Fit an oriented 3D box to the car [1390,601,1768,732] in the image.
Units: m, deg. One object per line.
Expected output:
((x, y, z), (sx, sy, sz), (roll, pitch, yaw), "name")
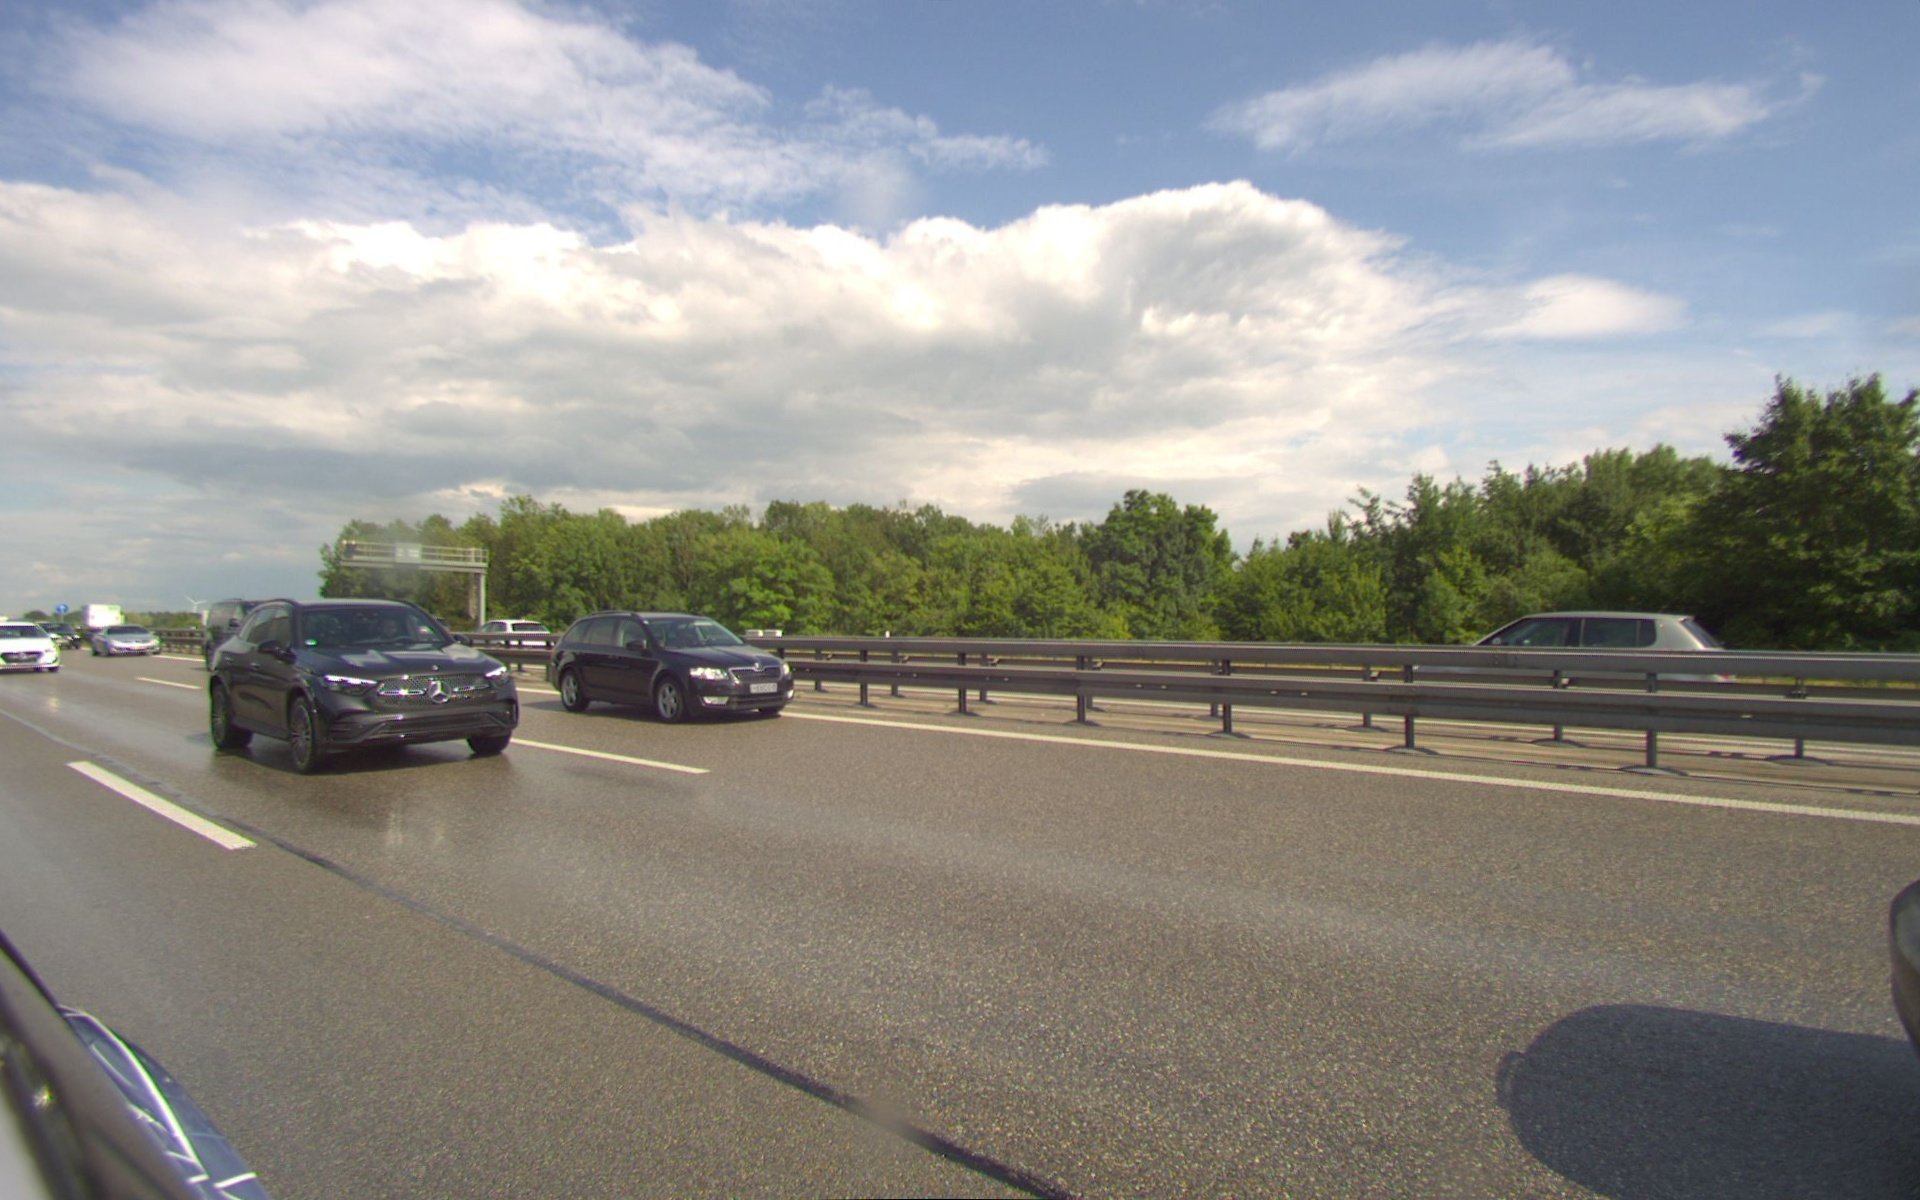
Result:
((7.981, 0.782, 13.257), (3.998, 1.453, 1.649), (-1, -1, 41), "car")

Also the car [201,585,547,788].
((-6.343, 0.761, 10.697), (4.625, 1.692, 1.856), (-1, -1, 42), "car")

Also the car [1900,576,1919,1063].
((4.027, 0.621, 1.286), (4.052, 1.444, 1.732), (-1, -1, 41), "car")

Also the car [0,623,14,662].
((-36.628, 1.593, 37.720), (3.997, 1.409, 1.577), (-1, -1, 40), "car")

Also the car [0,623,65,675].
((-27.208, 1.371, 29.047), (4.238, 1.408, 1.785), (-1, -2, 42), "car")

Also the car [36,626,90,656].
((-45.965, 2.069, 51.837), (3.998, 1.431, 1.597), (-1, -1, 41), "car")

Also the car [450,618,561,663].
((-15.548, 1.353, 34.568), (3.995, 1.401, 1.844), (-1, 0, 39), "car")

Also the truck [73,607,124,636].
((-93.807, 2.295, 110.114), (8.716, 3.009, 2.886), (-1, 0, 41), "truck")

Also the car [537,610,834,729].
((-3.992, 0.883, 14.382), (4.367, 1.435, 1.901), (-1, -1, 39), "car")

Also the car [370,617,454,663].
((-26.338, 1.876, 48.564), (5.074, 2.029, 1.832), (-1, 0, 40), "car")

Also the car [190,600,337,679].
((-18.806, 1.020, 27.229), (5.232, 1.932, 1.973), (-1, -1, 40), "car")

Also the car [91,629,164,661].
((-33.821, 1.799, 41.101), (3.583, 1.198, 1.832), (-1, -1, 43), "car")
